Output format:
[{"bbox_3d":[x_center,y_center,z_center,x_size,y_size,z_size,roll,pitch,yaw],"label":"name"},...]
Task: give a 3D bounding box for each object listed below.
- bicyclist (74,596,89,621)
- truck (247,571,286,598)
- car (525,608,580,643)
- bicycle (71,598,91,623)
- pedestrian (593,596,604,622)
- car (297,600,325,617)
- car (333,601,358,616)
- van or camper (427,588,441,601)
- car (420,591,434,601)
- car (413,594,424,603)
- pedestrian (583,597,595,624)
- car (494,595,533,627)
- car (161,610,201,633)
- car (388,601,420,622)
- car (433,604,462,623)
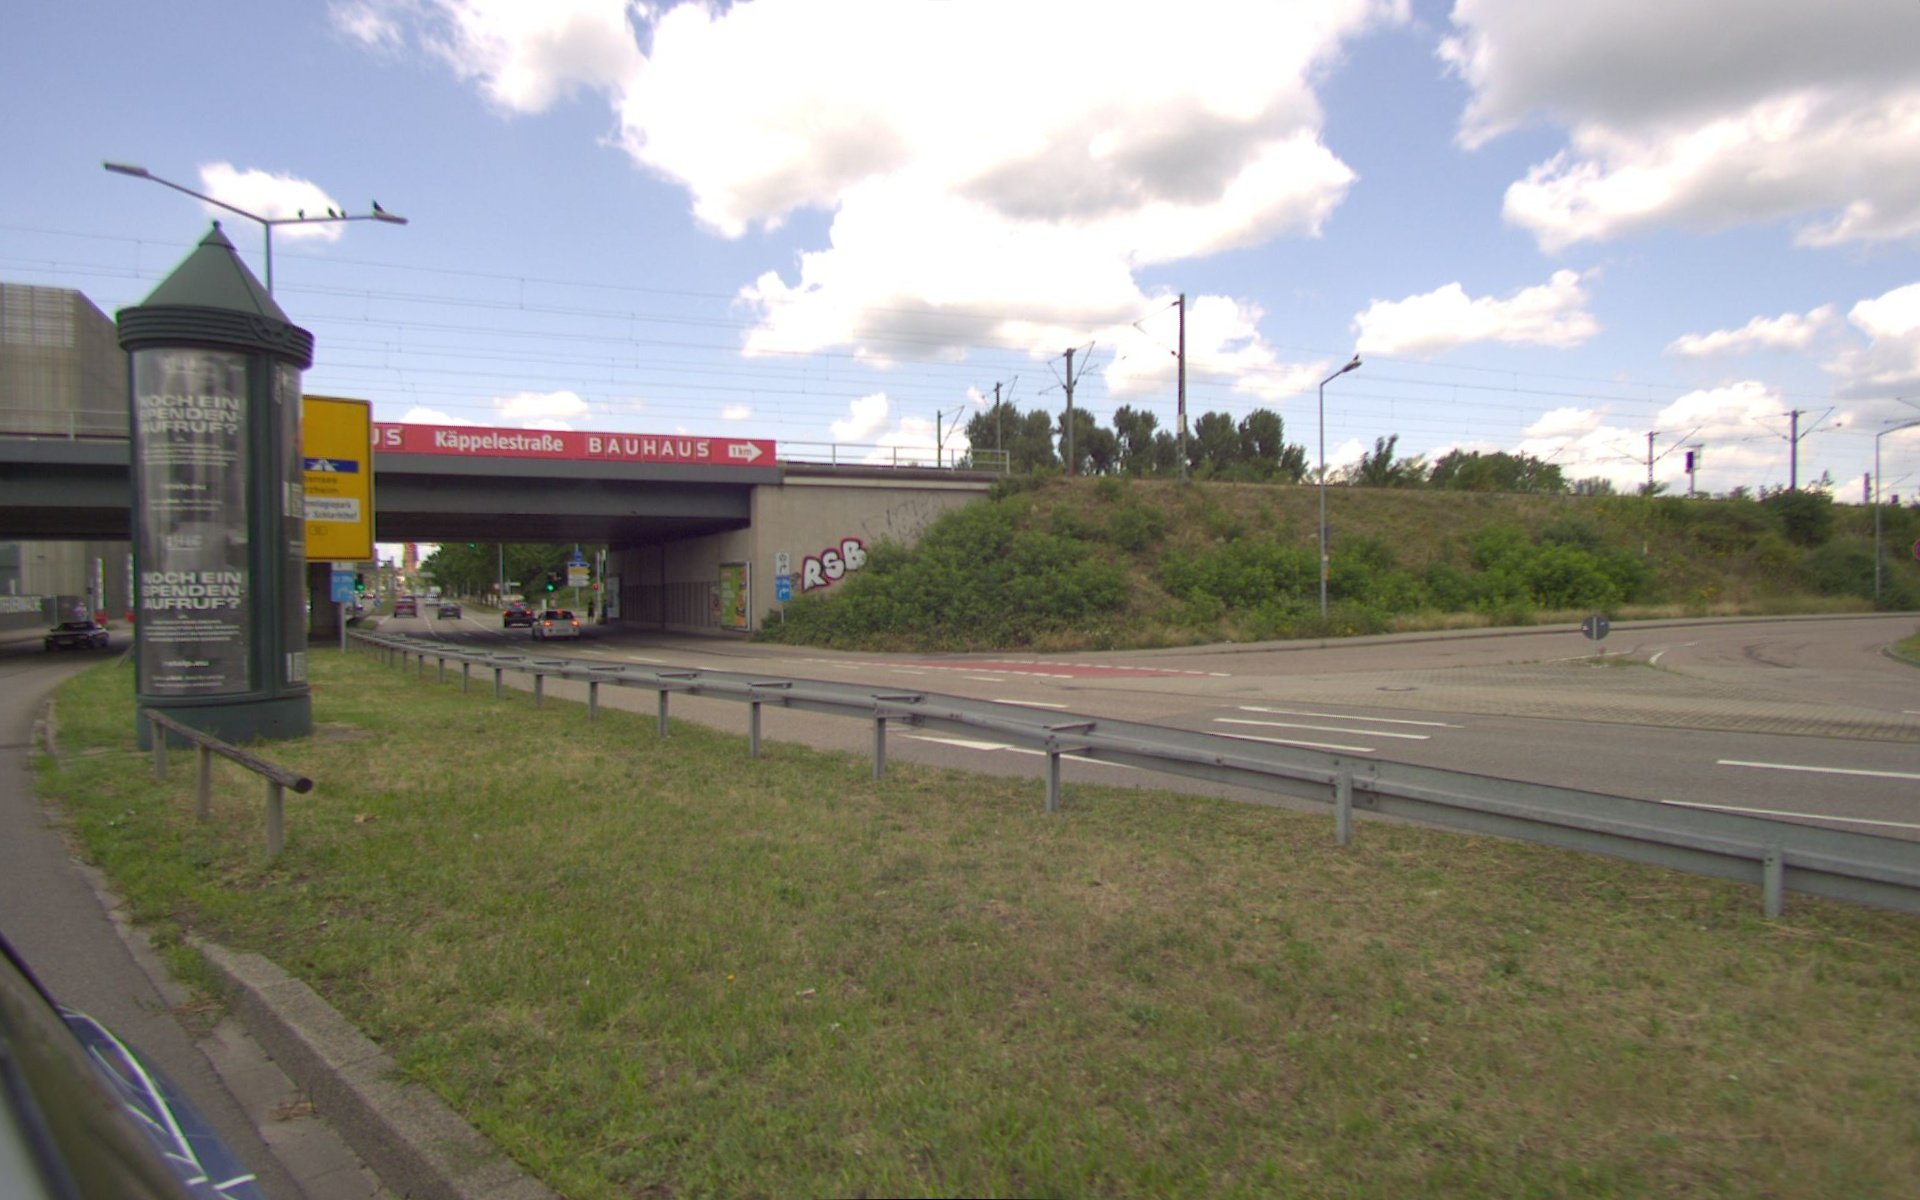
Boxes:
[{"bbox_3d":[-65.520,0.621,75.465,0.705,1.782,0.991,-1,1,-32],"label":"bicyclist"},{"bbox_3d":[-82.488,-1.829,120.517,3.016,3.136,7.960,-1,1,-29],"label":"truck"},{"bbox_3d":[-19.593,1.186,48.592,1.728,1.522,4.011,-1,0,-32],"label":"car"},{"bbox_3d":[-65.493,0.787,75.425,0.710,1.787,2.541,-1,1,-32],"label":"bicycle"},{"bbox_3d":[-23.147,0.588,64.812,0.546,1.637,0.588,-1,1,-28],"label":"pedestrian"},{"bbox_3d":[-63.845,0.828,99.591,1.889,1.425,4.309,-4,3,-29],"label":"car"},{"bbox_3d":[-64.324,0.876,106.060,1.966,1.425,4.847,-3,2,-29],"label":"car"},{"bbox_3d":[-110.476,-1.206,212.639,2.319,2.558,7.086,-2,2,-30],"label":"van or camper"},{"bbox_3d":[-89.262,-0.616,169.389,1.899,1.541,4.012,-1,0,-29],"label":"car"},{"bbox_3d":[-123.399,-0.411,230.659,2.160,1.978,5.210,-1,1,-30],"label":"car"},{"bbox_3d":[-24.001,0.662,65.434,0.582,1.693,0.557,-1,1,-31],"label":"pedestrian"},{"bbox_3d":[-30.422,0.701,68.914,1.966,2.029,4.350,-1,1,-30],"label":"car"},{"bbox_3d":[-55.531,1.518,72.184,1.685,1.507,3.662,-1,1,-29],"label":"car"},{"bbox_3d":[-49.011,0.972,89.271,1.965,1.687,4.338,-1,1,-23],"label":"car"},{"bbox_3d":[-42.604,1.112,84.220,1.920,1.384,4.014,-3,3,-24],"label":"car"}]
